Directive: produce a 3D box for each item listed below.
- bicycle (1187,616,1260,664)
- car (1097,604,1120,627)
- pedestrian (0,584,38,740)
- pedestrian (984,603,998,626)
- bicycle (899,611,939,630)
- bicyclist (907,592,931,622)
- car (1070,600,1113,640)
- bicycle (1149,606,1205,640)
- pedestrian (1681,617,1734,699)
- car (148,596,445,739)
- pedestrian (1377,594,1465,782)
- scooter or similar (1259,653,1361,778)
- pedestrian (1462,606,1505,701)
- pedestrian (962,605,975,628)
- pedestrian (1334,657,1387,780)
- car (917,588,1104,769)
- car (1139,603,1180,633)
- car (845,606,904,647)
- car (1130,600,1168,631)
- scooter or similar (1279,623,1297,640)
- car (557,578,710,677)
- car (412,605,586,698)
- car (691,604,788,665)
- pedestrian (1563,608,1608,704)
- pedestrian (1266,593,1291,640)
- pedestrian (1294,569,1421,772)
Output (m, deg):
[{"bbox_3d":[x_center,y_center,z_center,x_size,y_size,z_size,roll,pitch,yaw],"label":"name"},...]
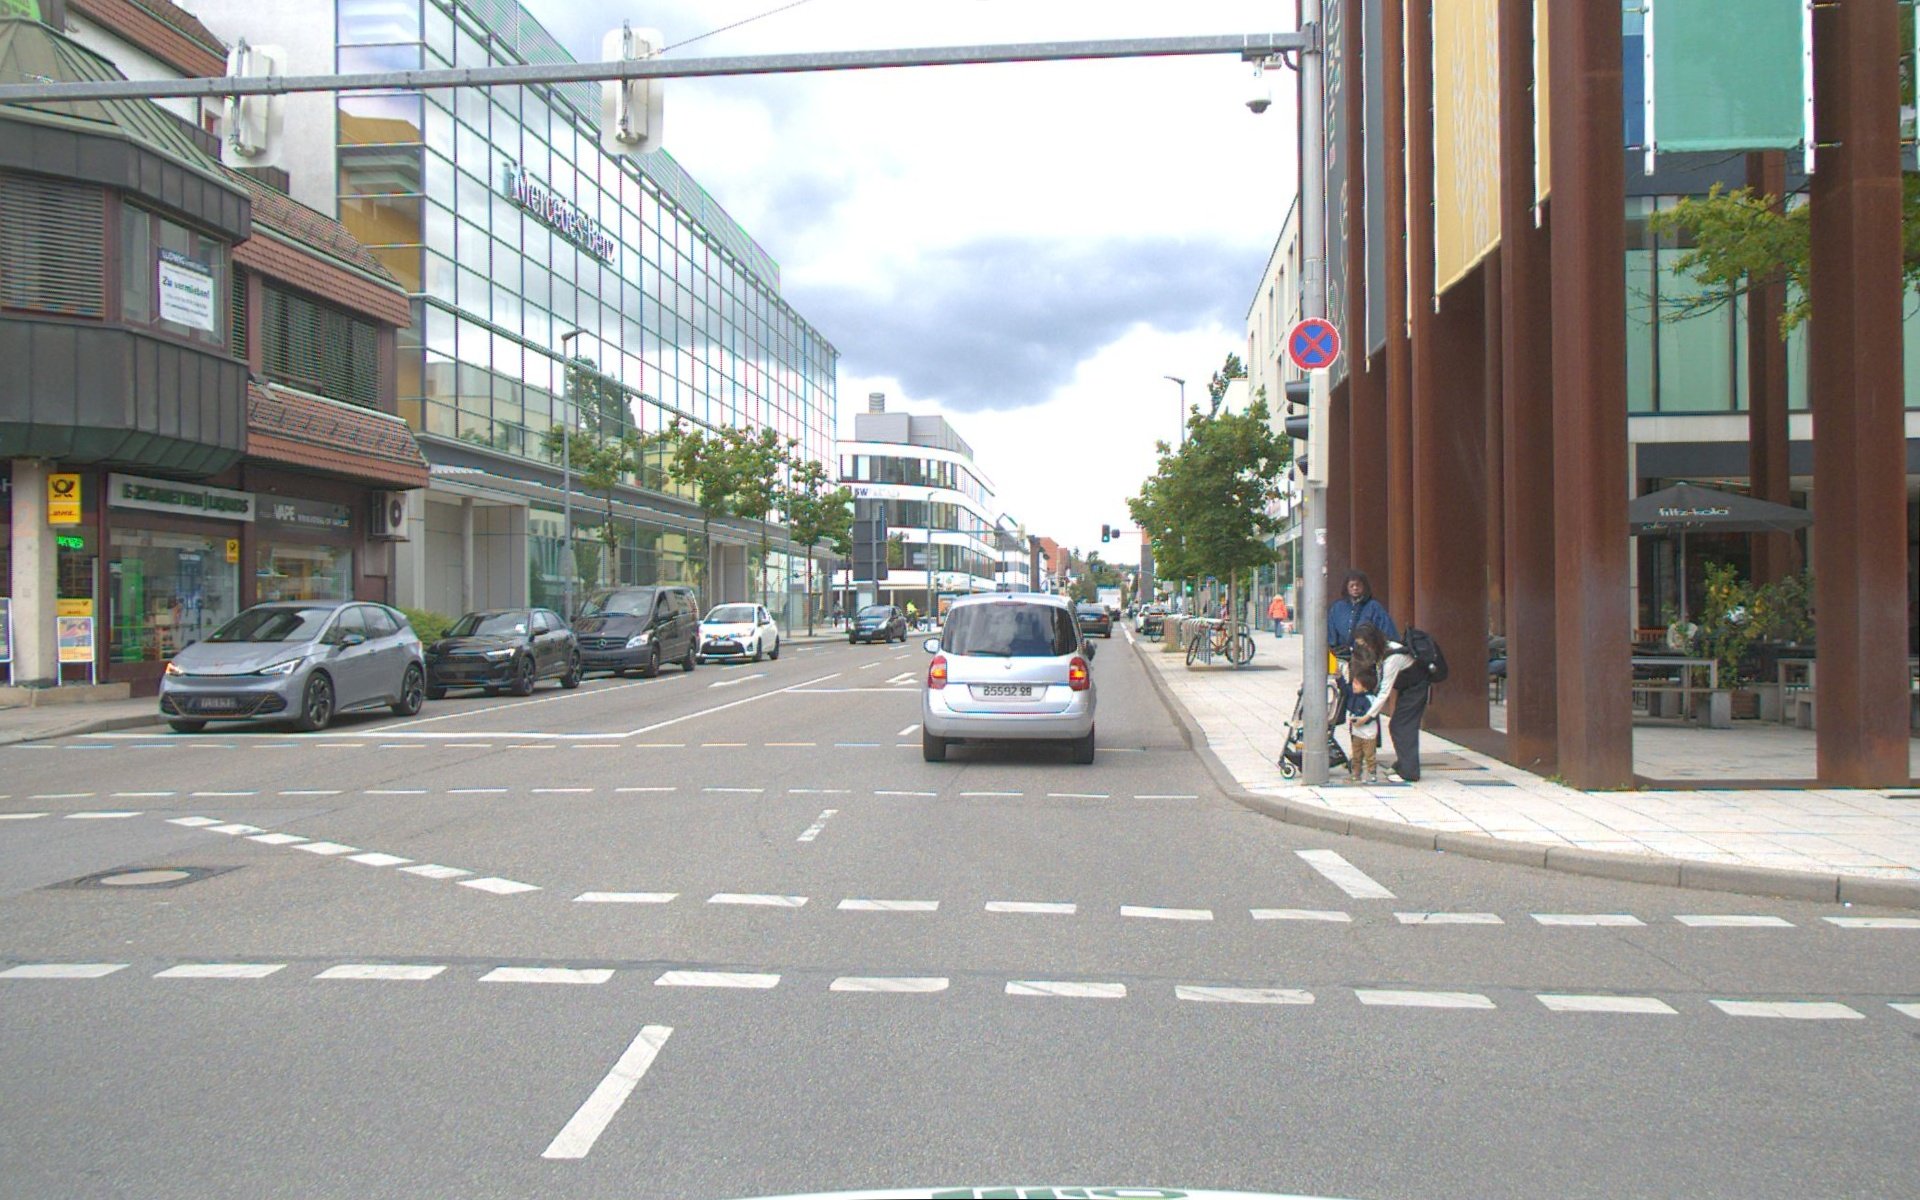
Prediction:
[{"bbox_3d":[5.664,0.863,35.644,1.527,1.010,0.753,-1,0,8],"label":"bicycle"},{"bbox_3d":[14.086,1.466,156.662,2.124,2.049,4.261,-1,0,5],"label":"car"},{"bbox_3d":[-10.974,0.686,18.621,0.733,1.722,0.777,0,0,0],"label":"pedestrian"},{"bbox_3d":[2.500,1.167,133.554,0.940,1.865,1.251,-1,0,5],"label":"pedestrian"},{"bbox_3d":[-2.397,1.189,95.757,0.995,1.036,3.100,2,-1,-29],"label":"bicycle"},{"bbox_3d":[-2.378,0.381,95.779,0.995,1.689,0.924,2,-1,-29],"label":"bicyclist"},{"bbox_3d":[5.605,0.823,70.087,1.634,1.581,3.645,2,0,7],"label":"car"},{"bbox_3d":[7.283,0.777,55.555,1.787,1.093,0.753,-2,0,4],"label":"bicycle"},{"bbox_3d":[11.693,0.898,25.895,0.504,1.229,0.796,0,1,3],"label":"pedestrian"},{"bbox_3d":[-8.225,0.766,20.988,1.722,1.543,4.389,-2,0,4],"label":"car"},{"bbox_3d":[3.625,0.676,13.032,0.588,1.445,0.583,0,0,7],"label":"pedestrian"},{"bbox_3d":[2.906,0.943,13.746,0.623,0.978,0.618,0,0,39],"label":"scooter or similar"},{"bbox_3d":[6.961,0.699,22.001,0.438,1.241,0.607,0,0,8],"label":"pedestrian"},{"bbox_3d":[0.697,1.318,134.187,0.940,1.865,1.251,-1,0,5],"label":"pedestrian"},{"bbox_3d":[3.156,0.927,13.056,0.354,0.940,0.455,0,0,7],"label":"pedestrian"},{"bbox_3d":[0.548,0.703,16.682,1.635,1.581,3.643,2,0,3],"label":"car"},{"bbox_3d":[9.578,0.842,79.612,1.838,1.358,4.003,2,0,5],"label":"car"},{"bbox_3d":[-3.325,1.000,64.900,1.625,1.506,4.003,-1,0,6],"label":"car"},{"bbox_3d":[9.802,0.770,86.101,1.838,1.535,4.003,2,0,5],"label":"car"},{"bbox_3d":[11.488,1.106,57.925,0.538,0.555,0.643,-4,0,5],"label":"scooter or similar"},{"bbox_3d":[-6.941,0.557,35.723,1.826,1.943,5.117,-1,0,5],"label":"car"},{"bbox_3d":[-7.805,0.830,28.377,1.666,1.468,4.001,0,0,3],"label":"car"},{"bbox_3d":[-5.723,0.866,43.387,1.625,1.491,4.002,-1,0,5],"label":"car"},{"bbox_3d":[8.247,0.732,21.813,0.438,1.241,0.607,0,0,9],"label":"pedestrian"},{"bbox_3d":[11.317,0.592,58.752,0.695,1.602,0.813,-3,-1,5],"label":"pedestrian"},{"bbox_3d":[3.414,0.583,14.209,0.856,1.675,0.677,0,0,39],"label":"pedestrian"}]
